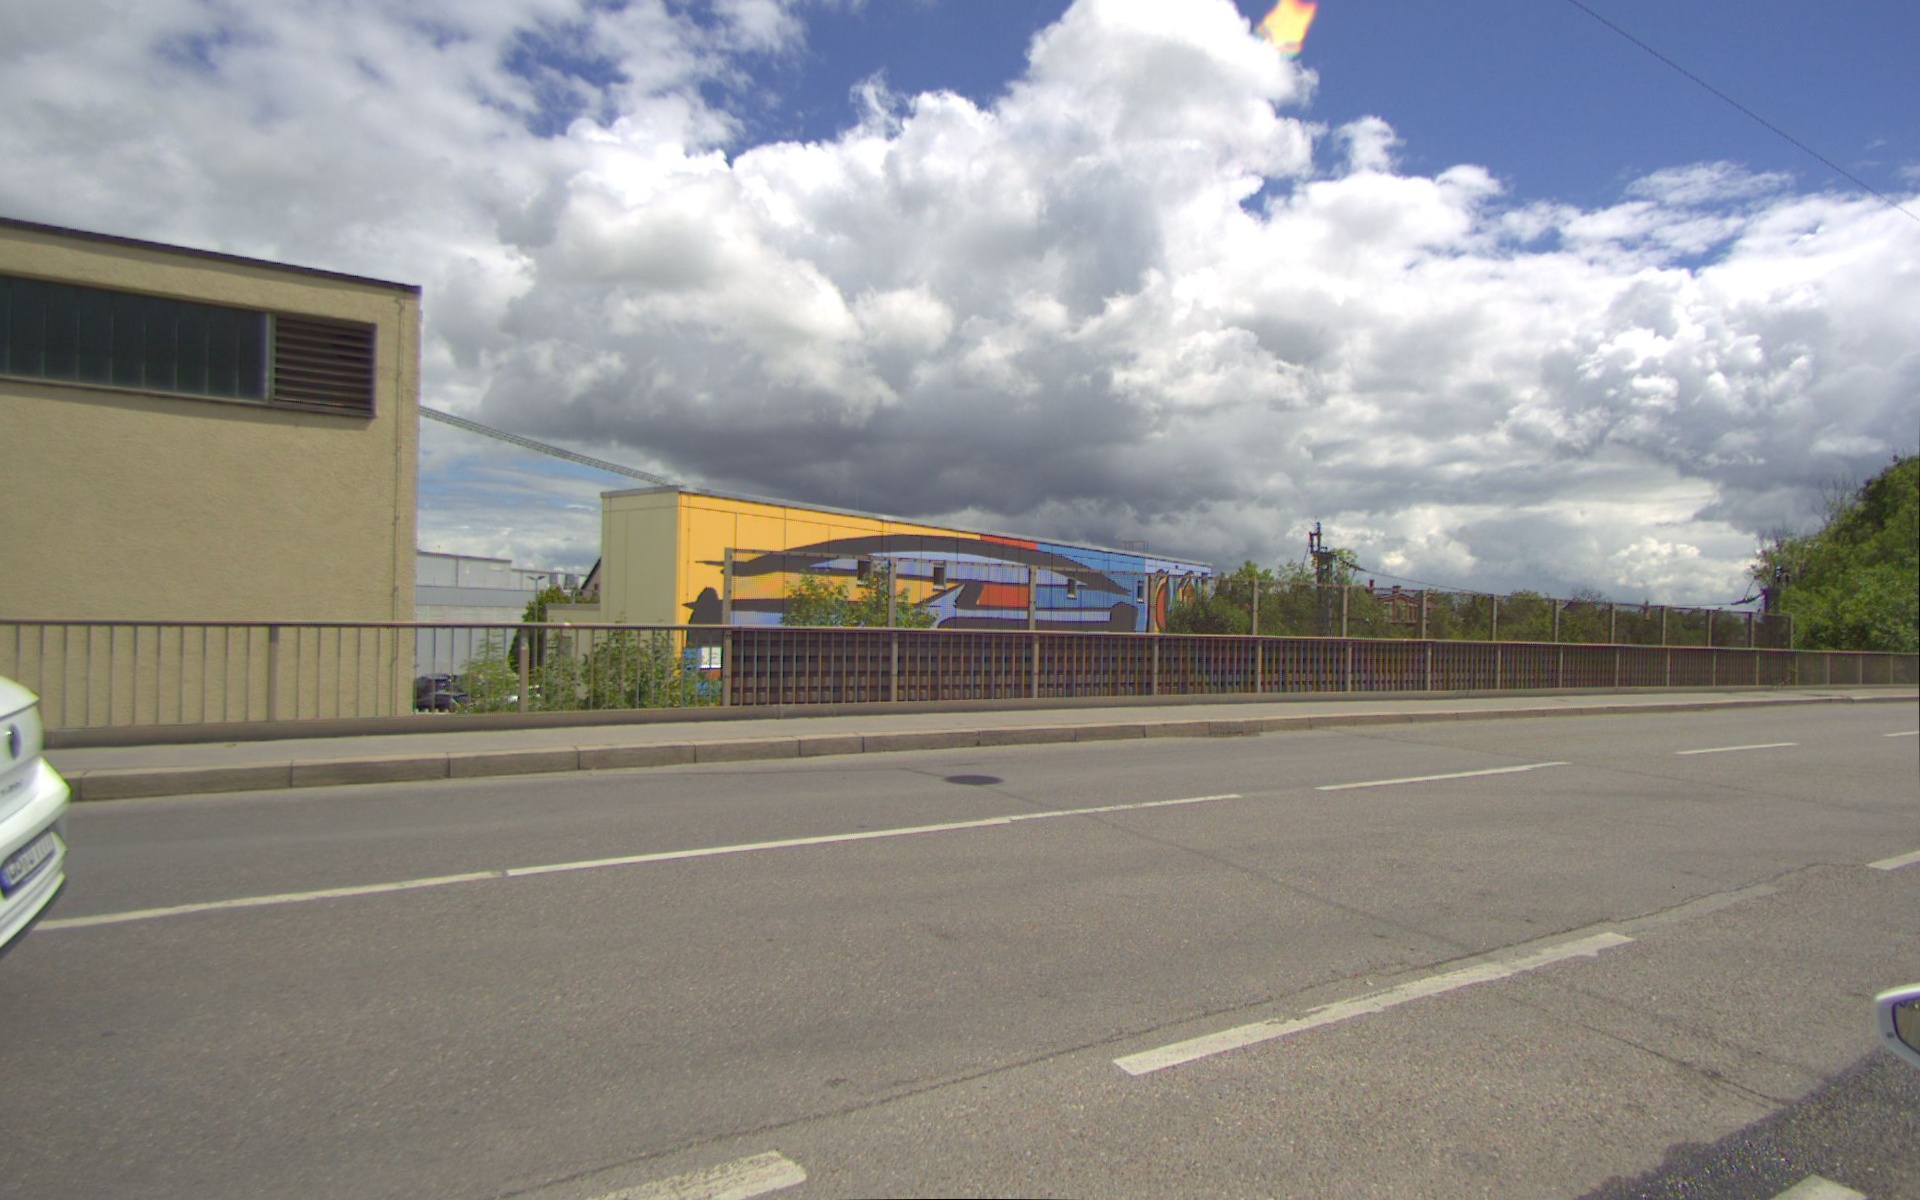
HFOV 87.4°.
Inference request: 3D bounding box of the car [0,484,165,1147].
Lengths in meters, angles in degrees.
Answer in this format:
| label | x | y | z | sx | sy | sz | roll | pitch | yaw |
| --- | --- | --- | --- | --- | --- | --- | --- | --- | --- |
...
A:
| label | x | y | z | sx | sy | sz | roll | pitch | yaw |
| --- | --- | --- | --- | --- | --- | --- | --- | --- | --- |
| car | -4.491 | 0.446 | 2.108 | 4.159 | 1.581 | 1.801 | 2 | -1 | -31 |
